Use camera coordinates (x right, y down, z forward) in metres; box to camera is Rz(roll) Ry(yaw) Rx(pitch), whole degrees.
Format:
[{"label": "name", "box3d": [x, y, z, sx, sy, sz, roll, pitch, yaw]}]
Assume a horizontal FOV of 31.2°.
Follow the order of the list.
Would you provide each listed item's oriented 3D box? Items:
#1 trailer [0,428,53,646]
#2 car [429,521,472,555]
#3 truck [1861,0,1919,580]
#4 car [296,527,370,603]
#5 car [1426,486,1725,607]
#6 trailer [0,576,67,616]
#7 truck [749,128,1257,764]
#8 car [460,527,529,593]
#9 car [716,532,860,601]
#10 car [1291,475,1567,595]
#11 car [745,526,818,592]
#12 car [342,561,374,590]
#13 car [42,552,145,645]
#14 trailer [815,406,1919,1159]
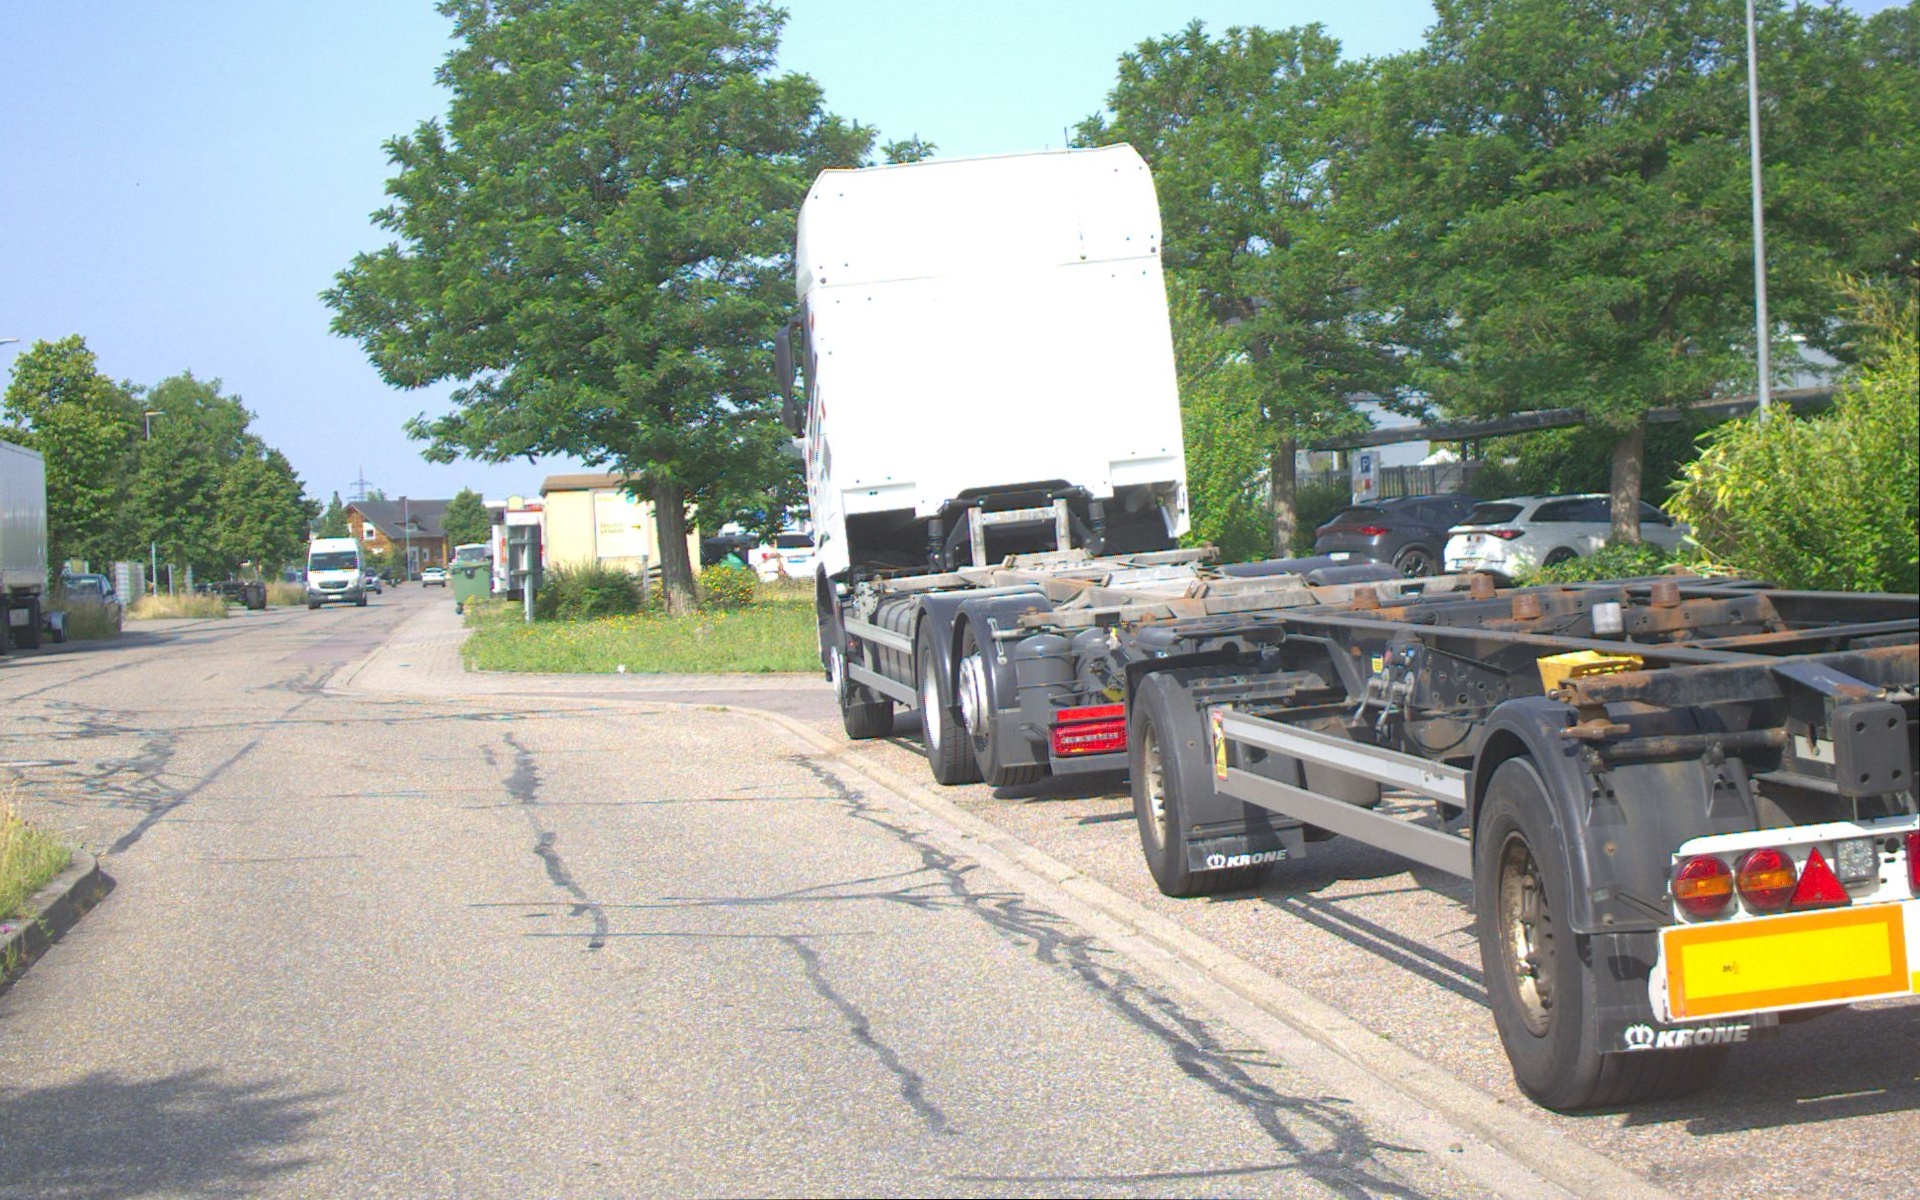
[{"label": "trailer", "box3d": [-18.484, -1.090, 61.780, 2.830, 3.830, 12.038, -1, 0, -8]}, {"label": "car", "box3d": [-29.014, -3.525, 195.703, 1.770, 1.809, 4.001, -1, 0, -18]}, {"label": "truck", "box3d": [3.553, -0.490, 0.882, 2.888, 3.523, 9.757, -6, 1, -7]}, {"label": "car", "box3d": [-23.208, -1.262, 127.007, 2.214, 2.677, 6.855, -1, 0, -14]}, {"label": "car", "box3d": [8.991, -0.765, 50.203, 4.074, 1.695, 1.765, -1, 0, -29]}, {"label": "trailer", "box3d": [-19.716, -0.069, 71.296, 1.896, 0.758, 4.001, -2, 1, -9]}, {"label": "truck", "box3d": [0.179, -1.053, 24.596, 2.745, 3.968, 4.001, -5, 1, -8]}, {"label": "car", "box3d": [-12.895, -1.079, 95.064, 1.791, 1.744, 4.001, -1, 0, -9]}, {"label": "car", "box3d": [-3.499, -0.668, 69.388, 1.667, 1.325, 3.664, -1, 0, -24]}, {"label": "car", "box3d": [7.245, -0.981, 53.004, 3.988, 1.761, 1.999, -1, 0, -39]}, {"label": "car", "box3d": [-4.553, -1.017, 87.372, 1.717, 1.612, 4.000, -1, 0, -5]}, {"label": "car", "box3d": [-36.713, -1.482, 209.688, 1.639, 1.656, 4.001, -1, 0, -14]}, {"label": "car", "box3d": [-20.038, -0.053, 79.376, 1.993, 2.007, 4.001, -2, 1, -18]}, {"label": "trailer", "box3d": [1.518, 0.214, 15.645, 2.745, 1.568, 16.175, -5, 1, -8]}]
